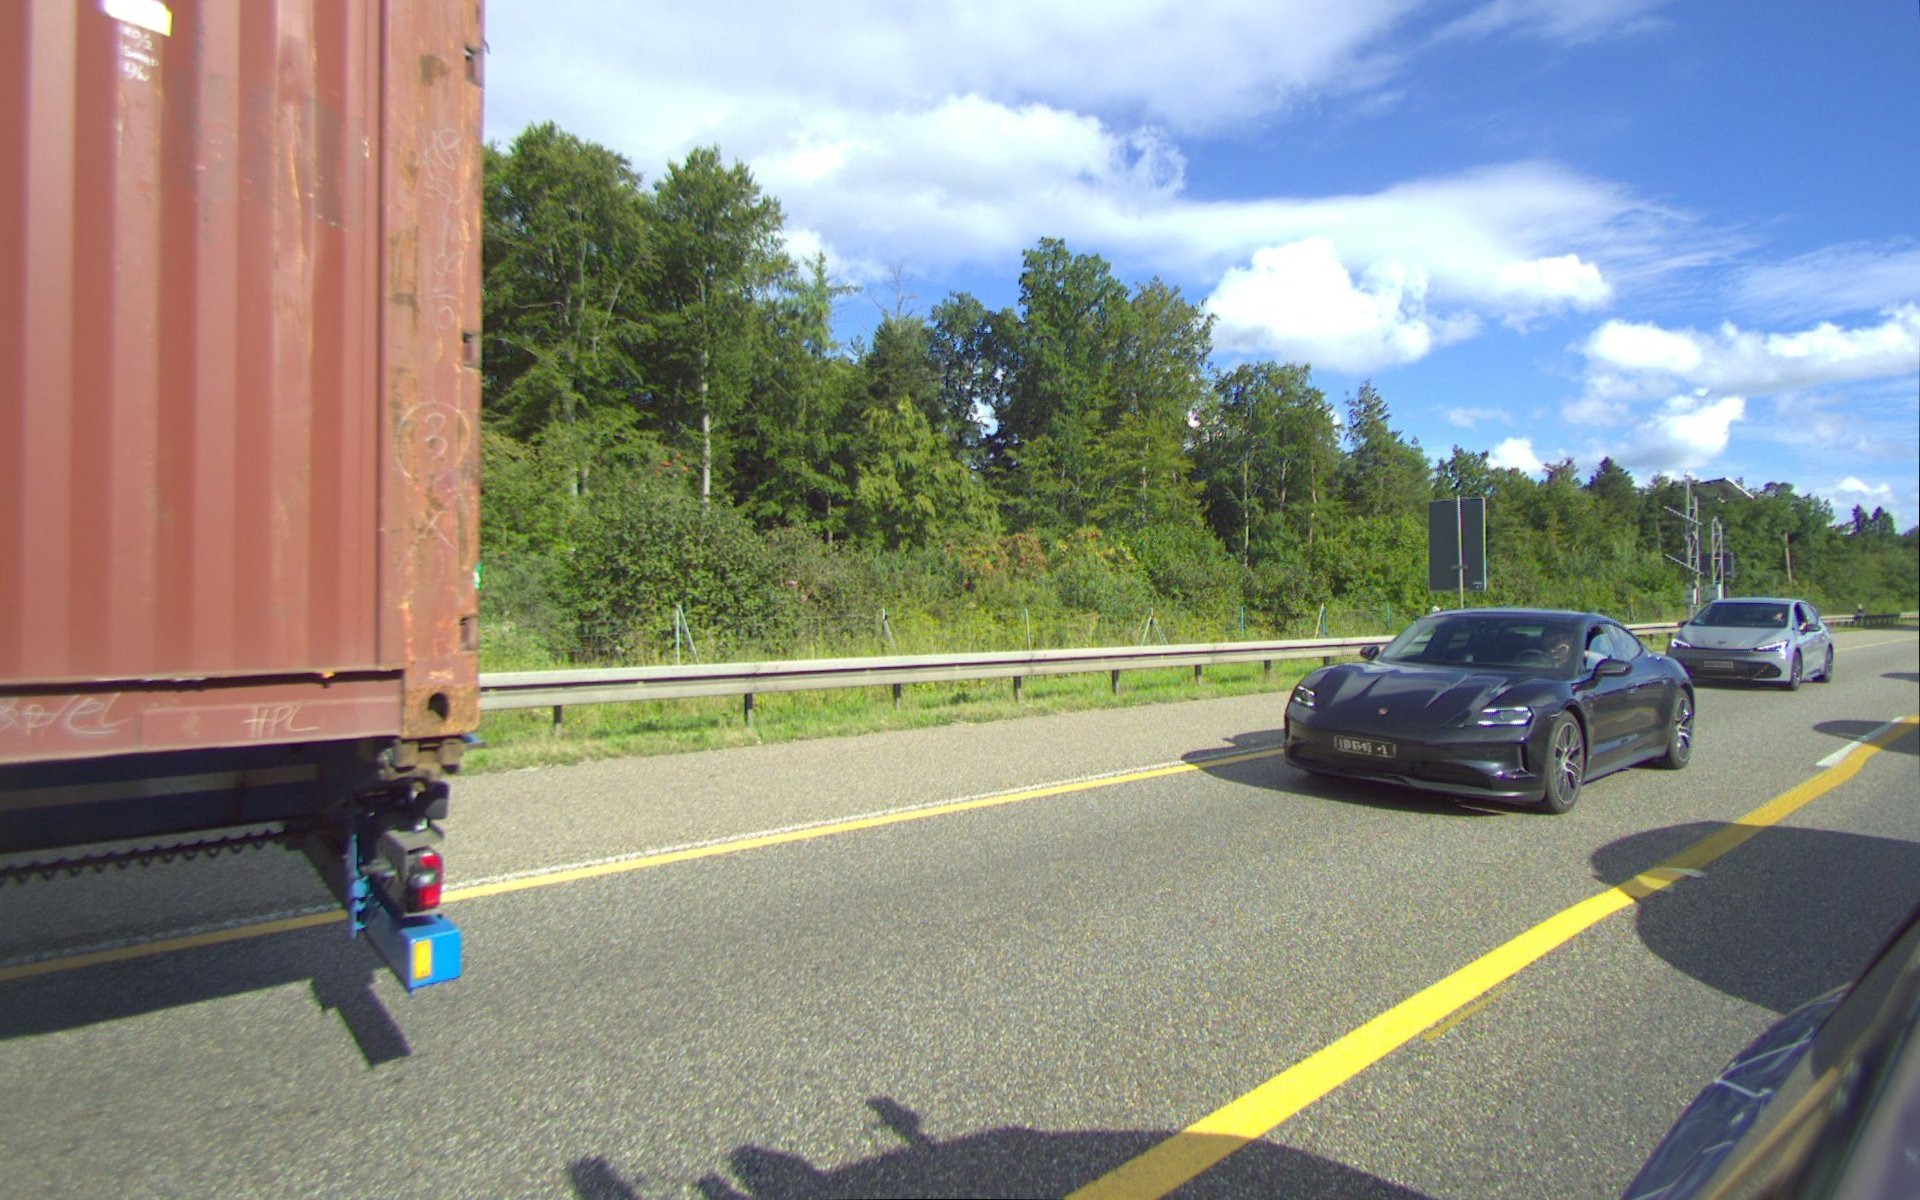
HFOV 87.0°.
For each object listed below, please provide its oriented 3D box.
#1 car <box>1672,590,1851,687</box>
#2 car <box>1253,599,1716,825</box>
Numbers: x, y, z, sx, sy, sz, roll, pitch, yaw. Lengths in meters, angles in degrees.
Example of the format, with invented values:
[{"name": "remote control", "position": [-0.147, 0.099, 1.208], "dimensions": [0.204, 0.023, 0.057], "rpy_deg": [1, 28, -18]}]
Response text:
[{"name": "car", "position": [14.194, 0.585, 17.853], "dimensions": [3.898, 1.498, 1.761], "rpy_deg": [-1, 1, -40]}, {"name": "car", "position": [4.519, 0.690, 8.416], "dimensions": [4.399, 1.367, 1.932], "rpy_deg": [0, 0, -41]}]
